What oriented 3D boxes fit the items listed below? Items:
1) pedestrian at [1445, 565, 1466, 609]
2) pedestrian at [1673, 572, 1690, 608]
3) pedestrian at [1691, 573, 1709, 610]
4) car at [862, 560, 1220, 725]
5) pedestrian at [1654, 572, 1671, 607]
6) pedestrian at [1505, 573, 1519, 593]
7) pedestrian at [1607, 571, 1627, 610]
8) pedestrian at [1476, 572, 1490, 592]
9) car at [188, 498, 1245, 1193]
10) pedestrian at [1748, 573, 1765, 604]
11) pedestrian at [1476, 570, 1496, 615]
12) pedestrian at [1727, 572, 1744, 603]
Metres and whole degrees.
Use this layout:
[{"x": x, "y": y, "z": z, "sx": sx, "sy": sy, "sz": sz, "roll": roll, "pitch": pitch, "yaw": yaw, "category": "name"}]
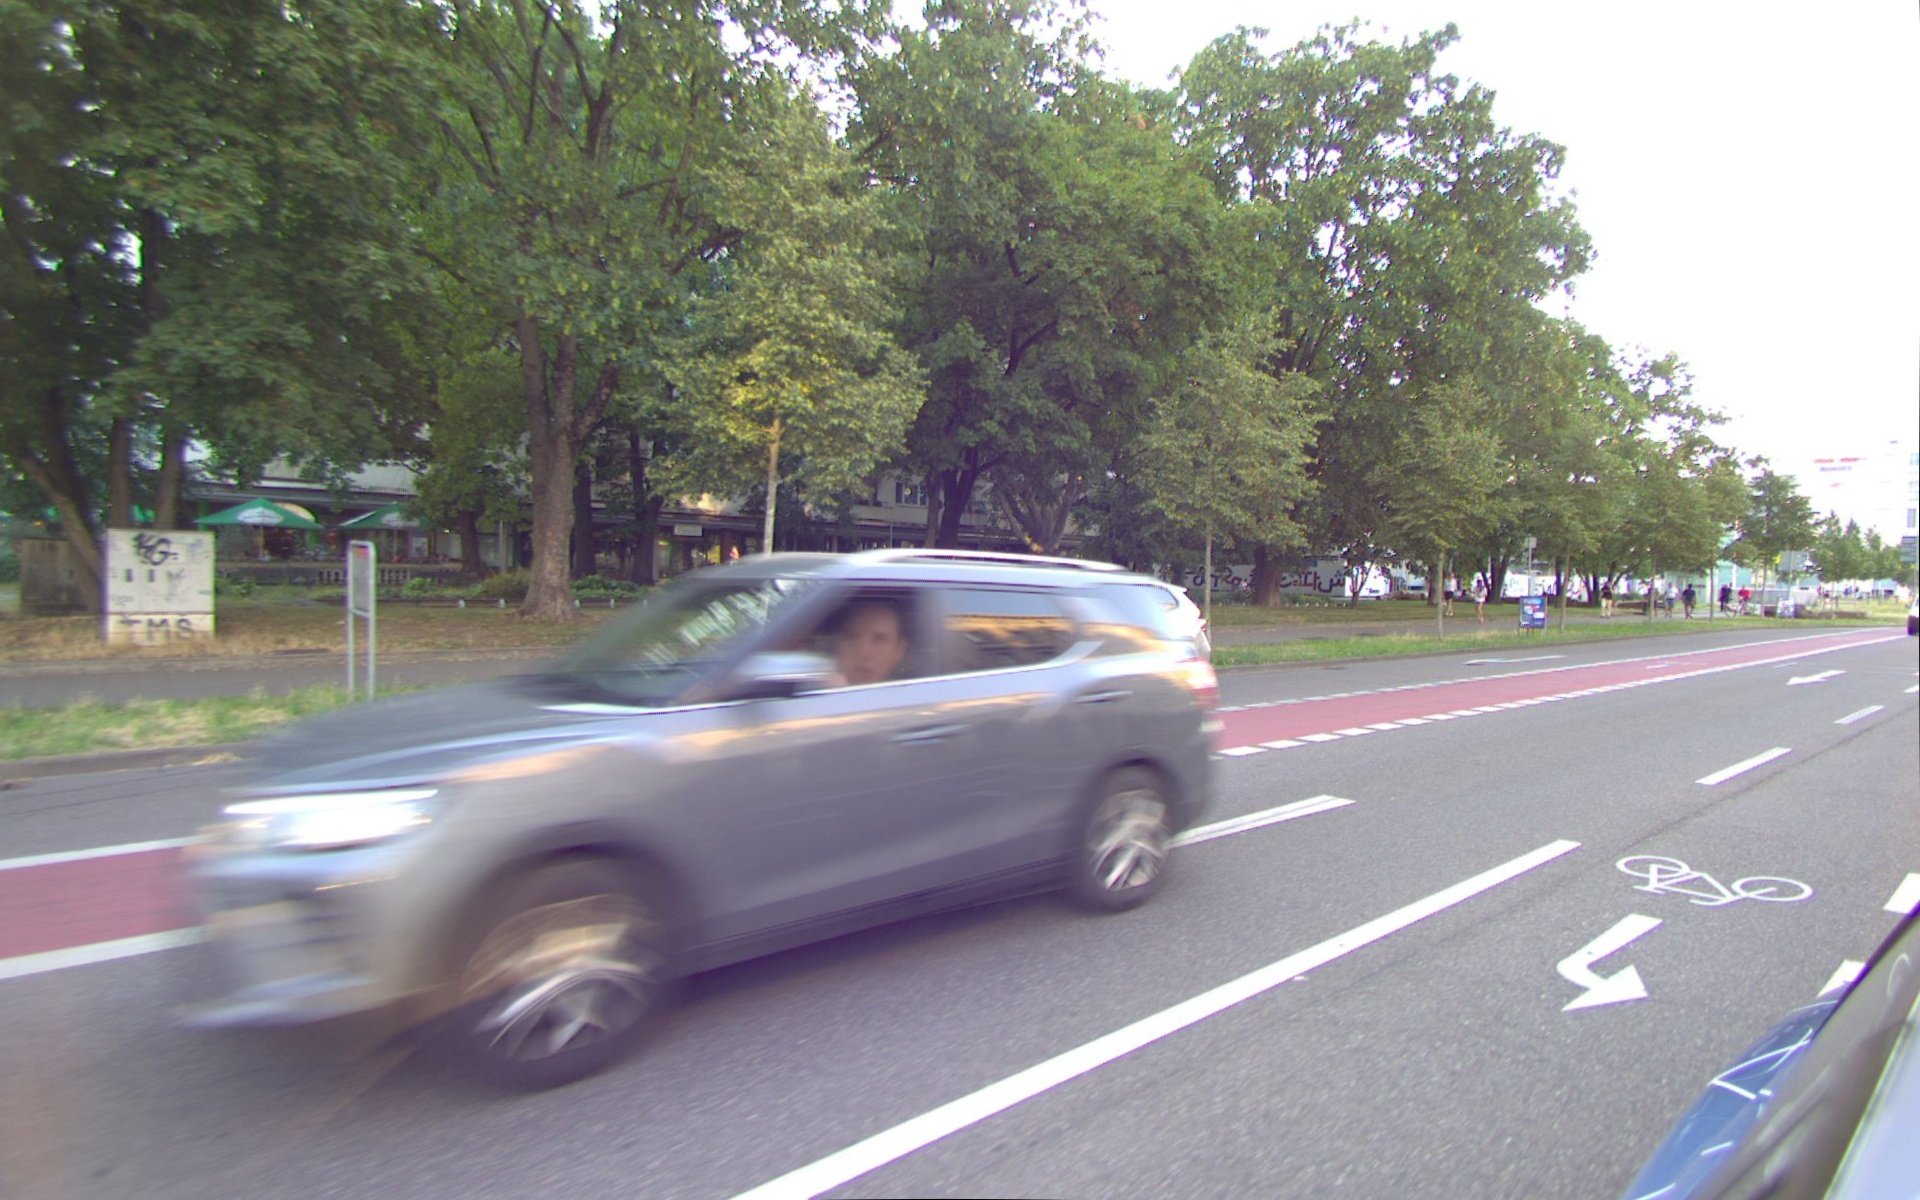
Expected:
[{"x": 18.573, "y": -0.493, "z": 37.941, "sx": 0.513, "sy": 1.620, "sz": 0.500, "roll": 0, "pitch": 2, "yaw": -41, "category": "pedestrian"}, {"x": 36.204, "y": -0.507, "z": 50.767, "sx": 0.707, "sy": 1.751, "sz": 0.508, "roll": 0, "pitch": 2, "yaw": -41, "category": "pedestrian"}, {"x": 36.258, "y": -0.415, "z": 49.576, "sx": 0.546, "sy": 1.760, "sz": 0.558, "roll": 0, "pitch": 2, "yaw": -41, "category": "pedestrian"}, {"x": 1.089, "y": 0.416, "z": 12.164, "sx": 4.259, "sy": 1.642, "sz": 1.825, "roll": 0, "pitch": 0, "yaw": -40, "category": "car"}, {"x": 35.712, "y": -0.540, "z": 51.441, "sx": 0.707, "sy": 1.751, "sz": 0.519, "roll": 0, "pitch": 2, "yaw": -41, "category": "pedestrian"}, {"x": 38.473, "y": -1.191, "z": 70.559, "sx": 0.550, "sy": 1.371, "sz": 0.662, "roll": 0, "pitch": 2, "yaw": -41, "category": "pedestrian"}, {"x": 29.978, "y": -0.432, "z": 46.181, "sx": 0.707, "sy": 1.751, "sz": 0.508, "roll": 0, "pitch": 2, "yaw": -41, "category": "pedestrian"}, {"x": 37.108, "y": -1.287, "z": 71.760, "sx": 0.669, "sy": 1.371, "sz": 0.631, "roll": 0, "pitch": 2, "yaw": -41, "category": "pedestrian"}, {"x": -0.723, "y": 0.549, "z": 4.425, "sx": 4.141, "sy": 1.647, "sz": 1.781, "roll": 0, "pitch": 2, "yaw": -41, "category": "car"}, {"x": 46.343, "y": -0.652, "z": 58.913, "sx": 0.497, "sy": 1.779, "sz": 0.638, "roll": 0, "pitch": 2, "yaw": -40, "category": "pedestrian"}, {"x": 19.401, "y": -0.274, "z": 37.301, "sx": 0.359, "sy": 1.620, "sz": 0.500, "roll": 0, "pitch": 2, "yaw": -40, "category": "pedestrian"}, {"x": 45.762, "y": -0.738, "z": 59.724, "sx": 0.497, "sy": 1.779, "sz": 0.638, "roll": 0, "pitch": 2, "yaw": -40, "category": "pedestrian"}]
